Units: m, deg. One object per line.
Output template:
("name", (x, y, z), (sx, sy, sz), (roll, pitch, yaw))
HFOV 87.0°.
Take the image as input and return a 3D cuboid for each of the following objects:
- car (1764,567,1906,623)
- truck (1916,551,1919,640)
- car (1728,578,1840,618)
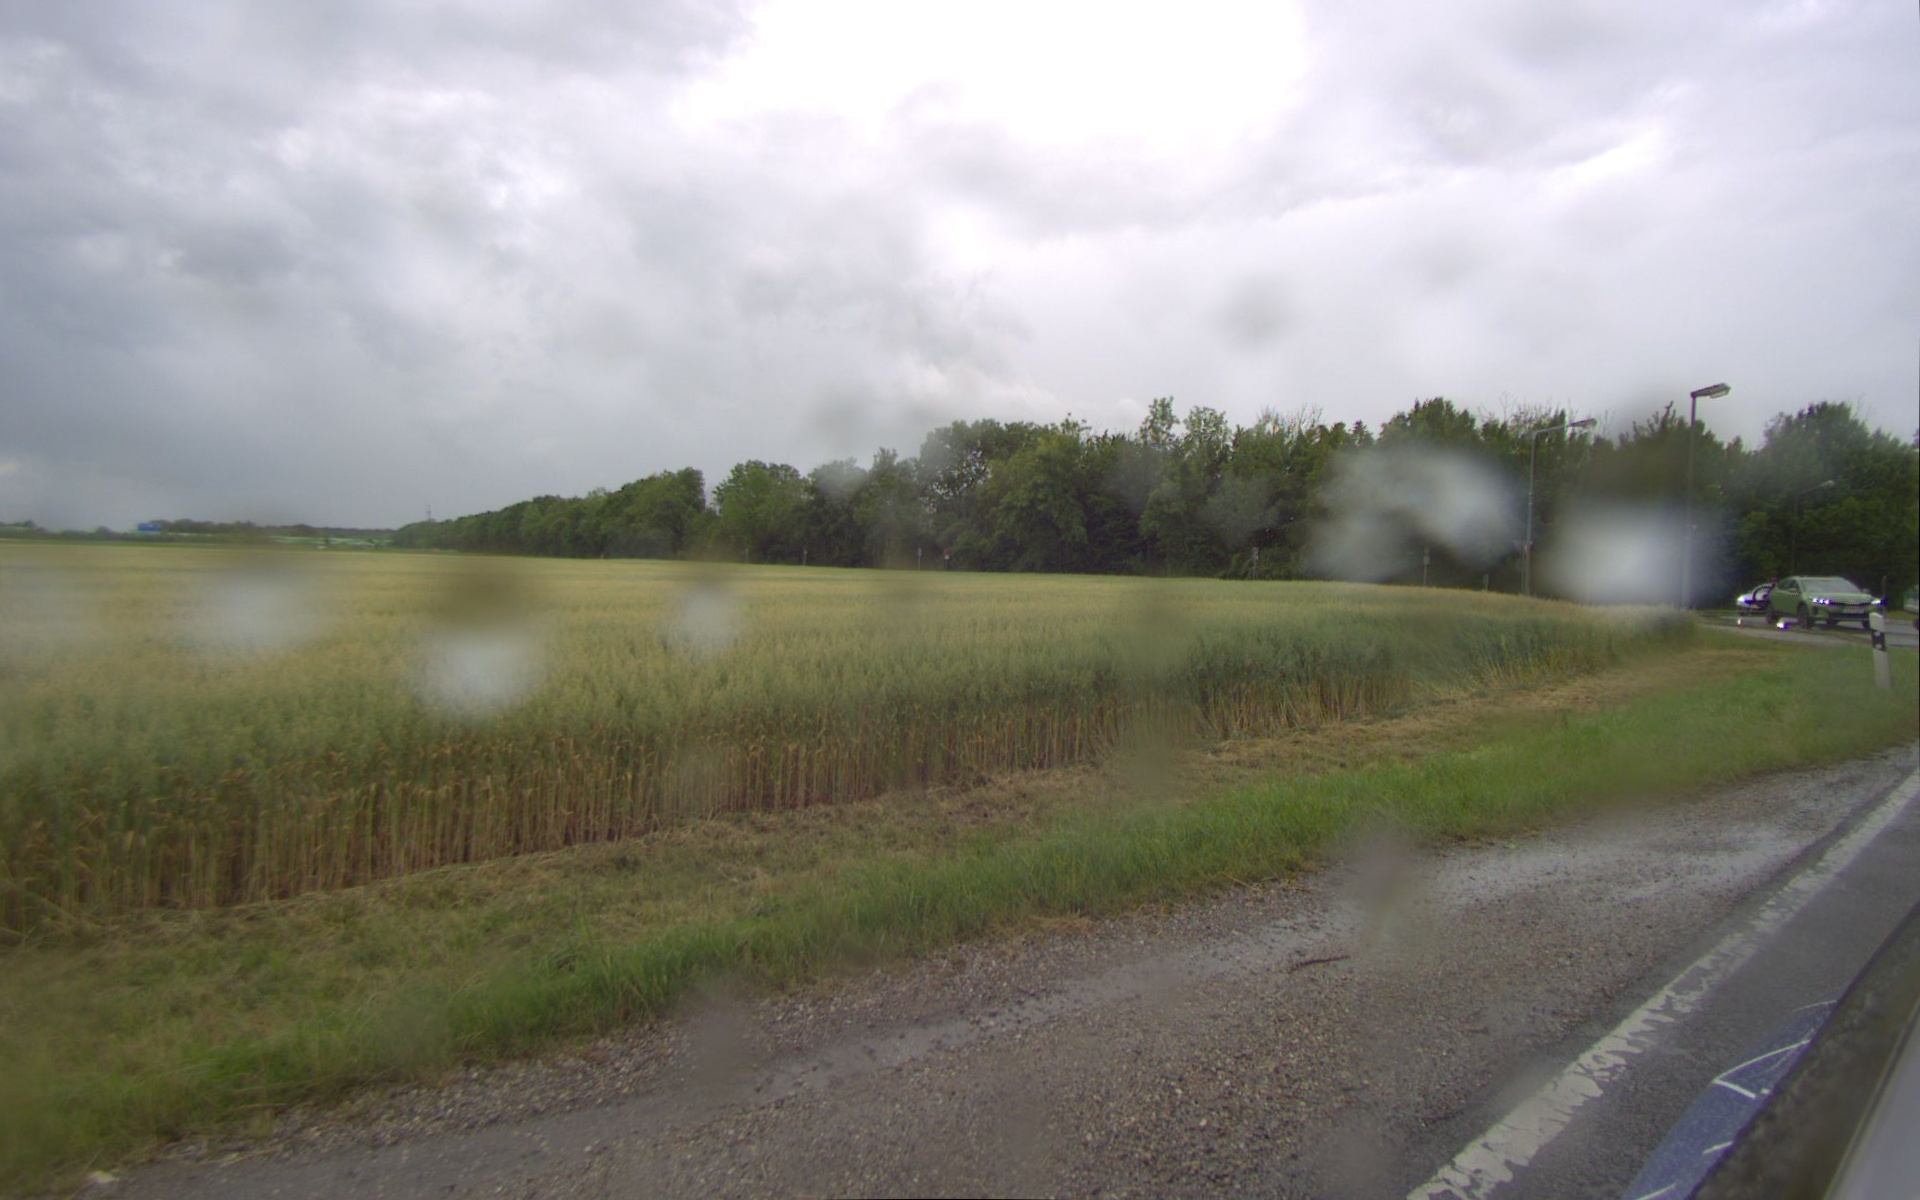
("car", (26.732, -0.197, 31.135), (1.873, 1.550, 5.211), (1, 1, 25))
("truck", (22.254, -0.014, 21.252), (2.061, 2.087, 5.705), (0, 2, 32))
("car", (33.502, -0.083, 41.127), (4.410, 1.550, 1.896), (0, 1, -27))
